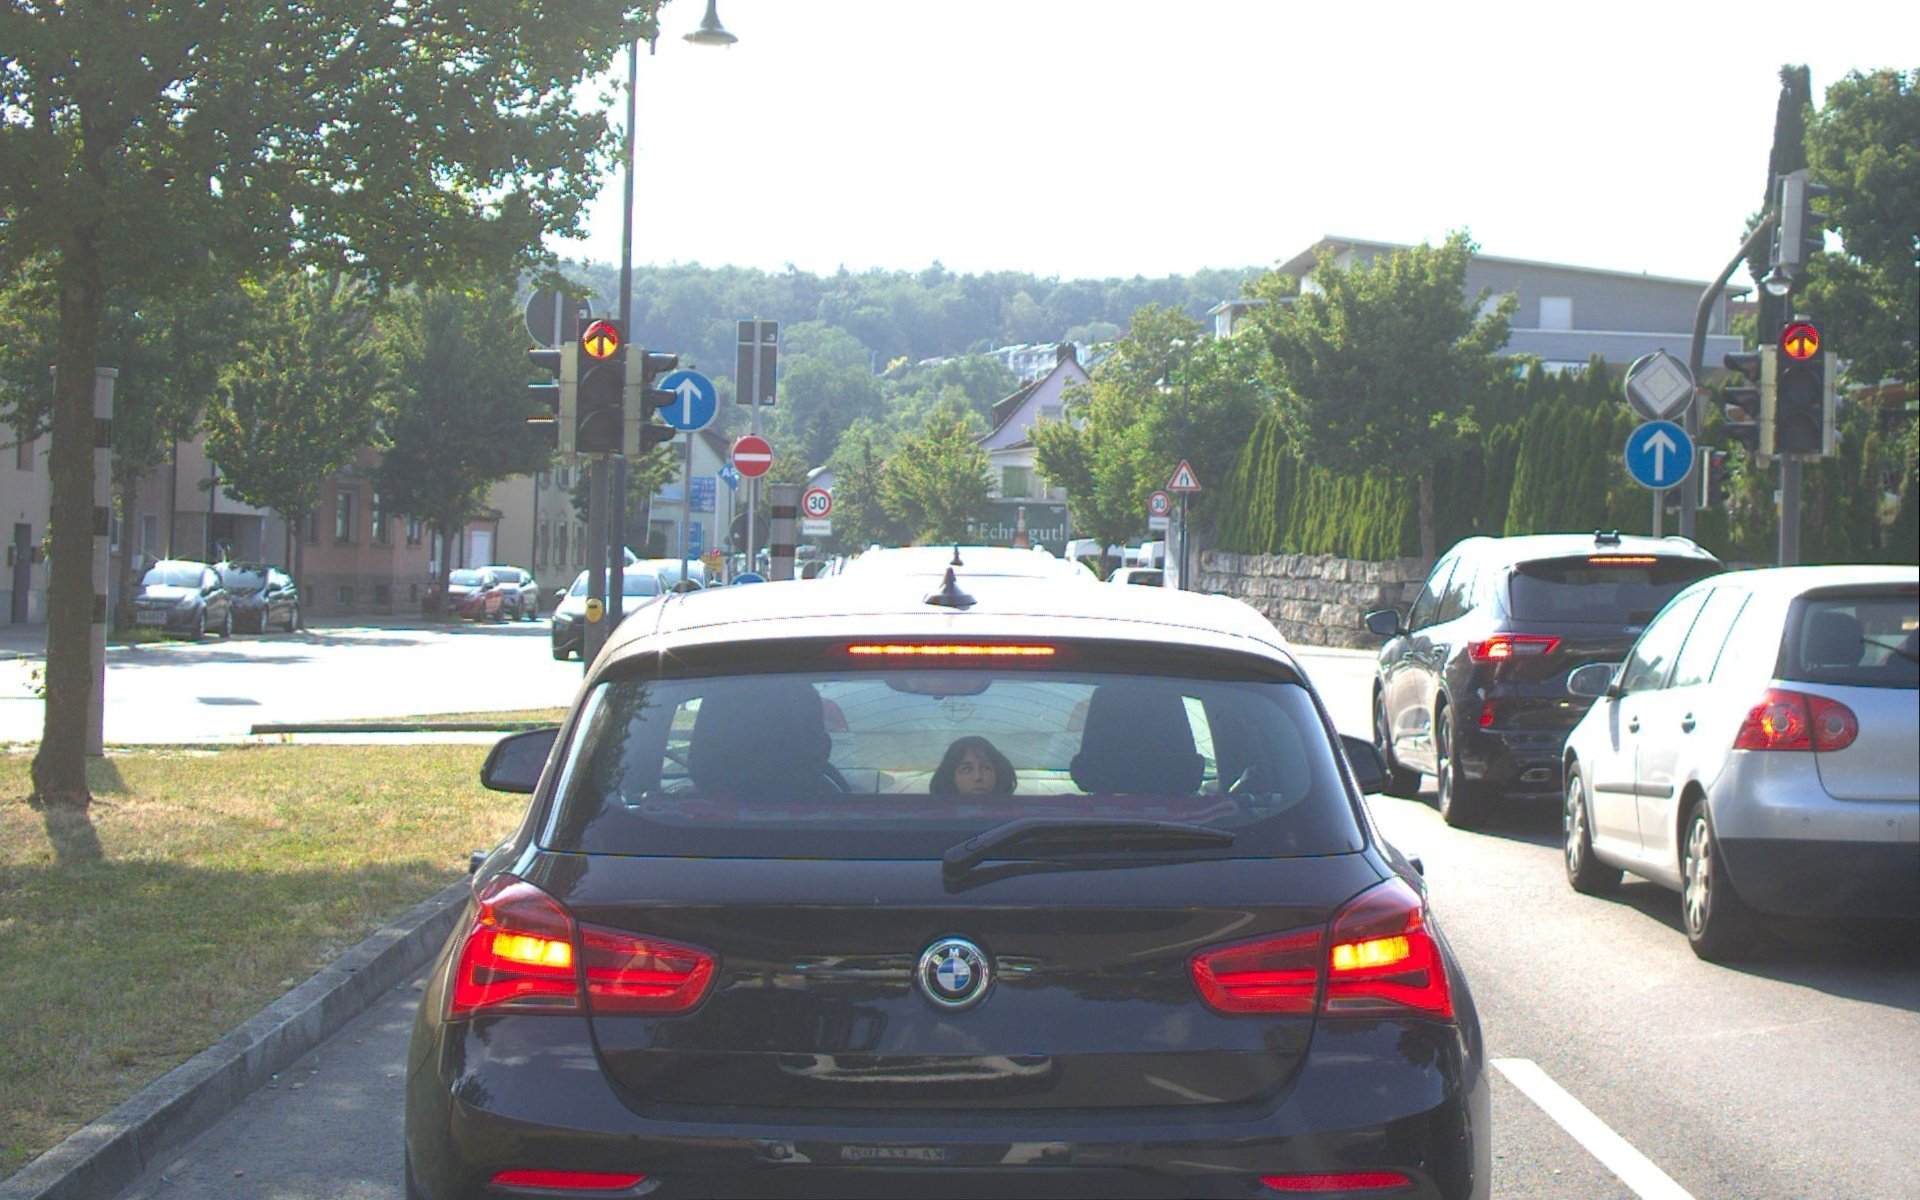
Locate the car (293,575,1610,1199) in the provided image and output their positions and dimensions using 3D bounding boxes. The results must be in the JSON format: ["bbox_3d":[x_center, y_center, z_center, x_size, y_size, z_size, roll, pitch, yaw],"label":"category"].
[{"bbox_3d":[0.018,0.684,6.872,1.791,1.410,4.347,1,1,1],"label":"car"}]

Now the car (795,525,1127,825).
[{"bbox_3d":[0.042,0.381,21.117,1.816,1.635,4.242,1,1,1],"label":"car"}]

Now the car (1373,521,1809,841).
[{"bbox_3d":[3.582,0.391,20.266,1.816,1.660,4.347,1,1,1],"label":"car"}]

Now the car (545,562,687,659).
[{"bbox_3d":[-5.470,0.144,55.040,1.766,1.453,4.000,1,1,1],"label":"car"}]

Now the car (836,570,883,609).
[{"bbox_3d":[-4.297,-0.466,147.838,1.924,1.590,4.000,1,1,-1],"label":"car"}]

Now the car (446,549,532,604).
[{"bbox_3d":[-14.077,-0.730,102.930,1.924,1.590,4.000,1,1,1],"label":"car"}]

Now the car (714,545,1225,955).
[{"bbox_3d":[0.068,0.504,14.439,1.816,1.446,4.242,1,1,1],"label":"car"}]

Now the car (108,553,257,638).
[{"bbox_3d":[-15.156,-0.112,67.217,1.924,1.590,4.000,1,1,1],"label":"car"}]

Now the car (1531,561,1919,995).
[{"bbox_3d":[3.538,0.586,13.823,1.816,1.441,4.347,1,1,1],"label":"car"}]

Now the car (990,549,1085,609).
[{"bbox_3d":[1.996,-0.557,89.687,1.861,1.480,4.660,1,1,-6],"label":"car"}]

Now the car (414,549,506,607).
[{"bbox_3d":[-14.142,-0.640,97.425,1.924,1.590,4.000,1,1,1],"label":"car"}]

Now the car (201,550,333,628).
[{"bbox_3d":[-14.791,-0.249,73.583,1.924,1.590,4.000,1,1,1],"label":"car"}]

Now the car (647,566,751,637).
[{"bbox_3d":[-5.237,0.009,69.350,1.693,1.348,4.000,1,1,1],"label":"car"}]

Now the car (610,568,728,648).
[{"bbox_3d":[-5.224,0.127,62.144,1.693,1.348,4.000,1,1,1],"label":"car"}]

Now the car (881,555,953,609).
[{"bbox_3d":[-1.390,-0.594,110.292,1.890,1.696,4.525,-1,1,-6],"label":"car"}]
